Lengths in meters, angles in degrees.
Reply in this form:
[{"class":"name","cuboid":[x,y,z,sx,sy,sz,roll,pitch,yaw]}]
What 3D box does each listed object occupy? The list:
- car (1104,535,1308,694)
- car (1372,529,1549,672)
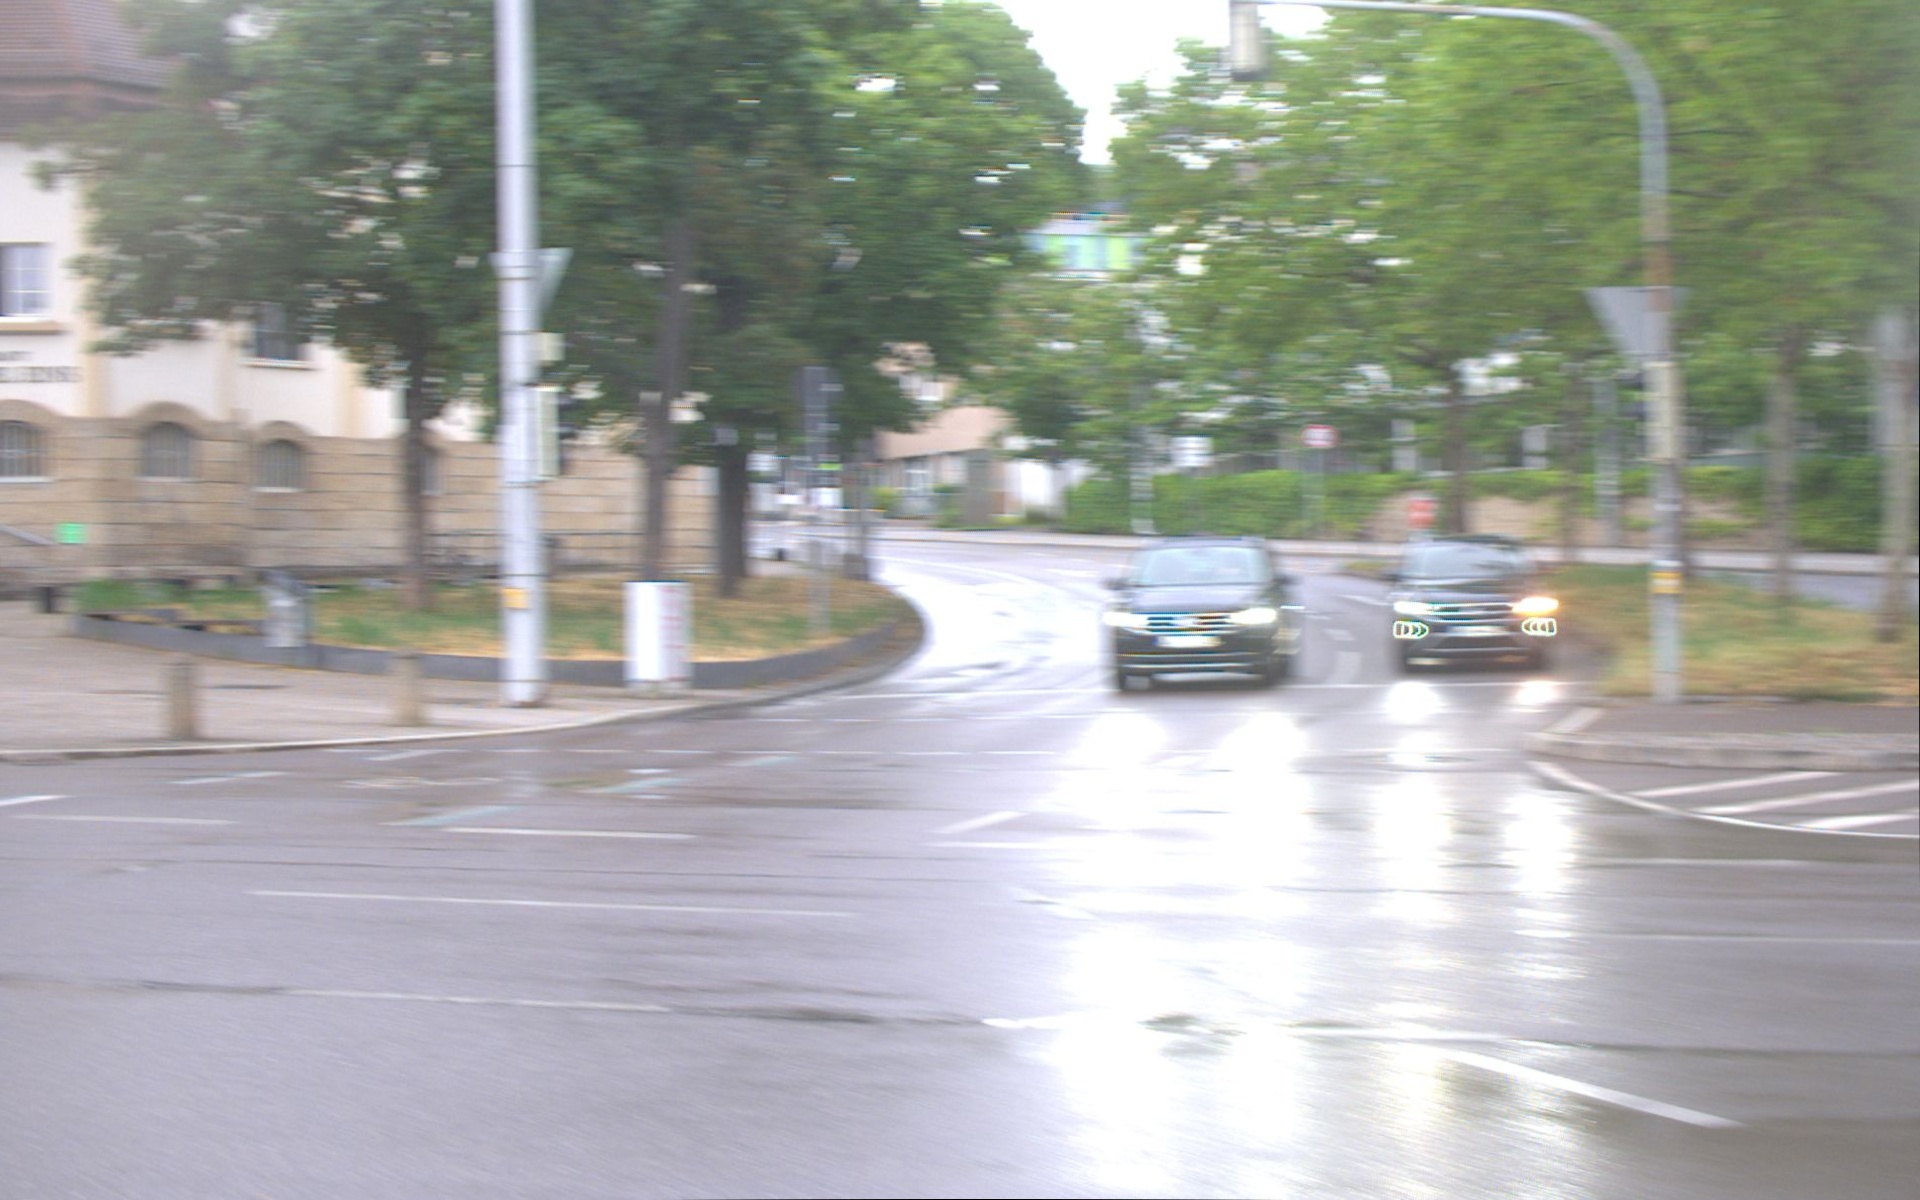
[{"class":"car","cuboid":[2.777,0.117,37.996,1.868,1.559,4.275,-1,2,9]},{"class":"car","cuboid":[5.896,-0.038,40.842,1.789,1.579,4.000,-1,1,4]}]
